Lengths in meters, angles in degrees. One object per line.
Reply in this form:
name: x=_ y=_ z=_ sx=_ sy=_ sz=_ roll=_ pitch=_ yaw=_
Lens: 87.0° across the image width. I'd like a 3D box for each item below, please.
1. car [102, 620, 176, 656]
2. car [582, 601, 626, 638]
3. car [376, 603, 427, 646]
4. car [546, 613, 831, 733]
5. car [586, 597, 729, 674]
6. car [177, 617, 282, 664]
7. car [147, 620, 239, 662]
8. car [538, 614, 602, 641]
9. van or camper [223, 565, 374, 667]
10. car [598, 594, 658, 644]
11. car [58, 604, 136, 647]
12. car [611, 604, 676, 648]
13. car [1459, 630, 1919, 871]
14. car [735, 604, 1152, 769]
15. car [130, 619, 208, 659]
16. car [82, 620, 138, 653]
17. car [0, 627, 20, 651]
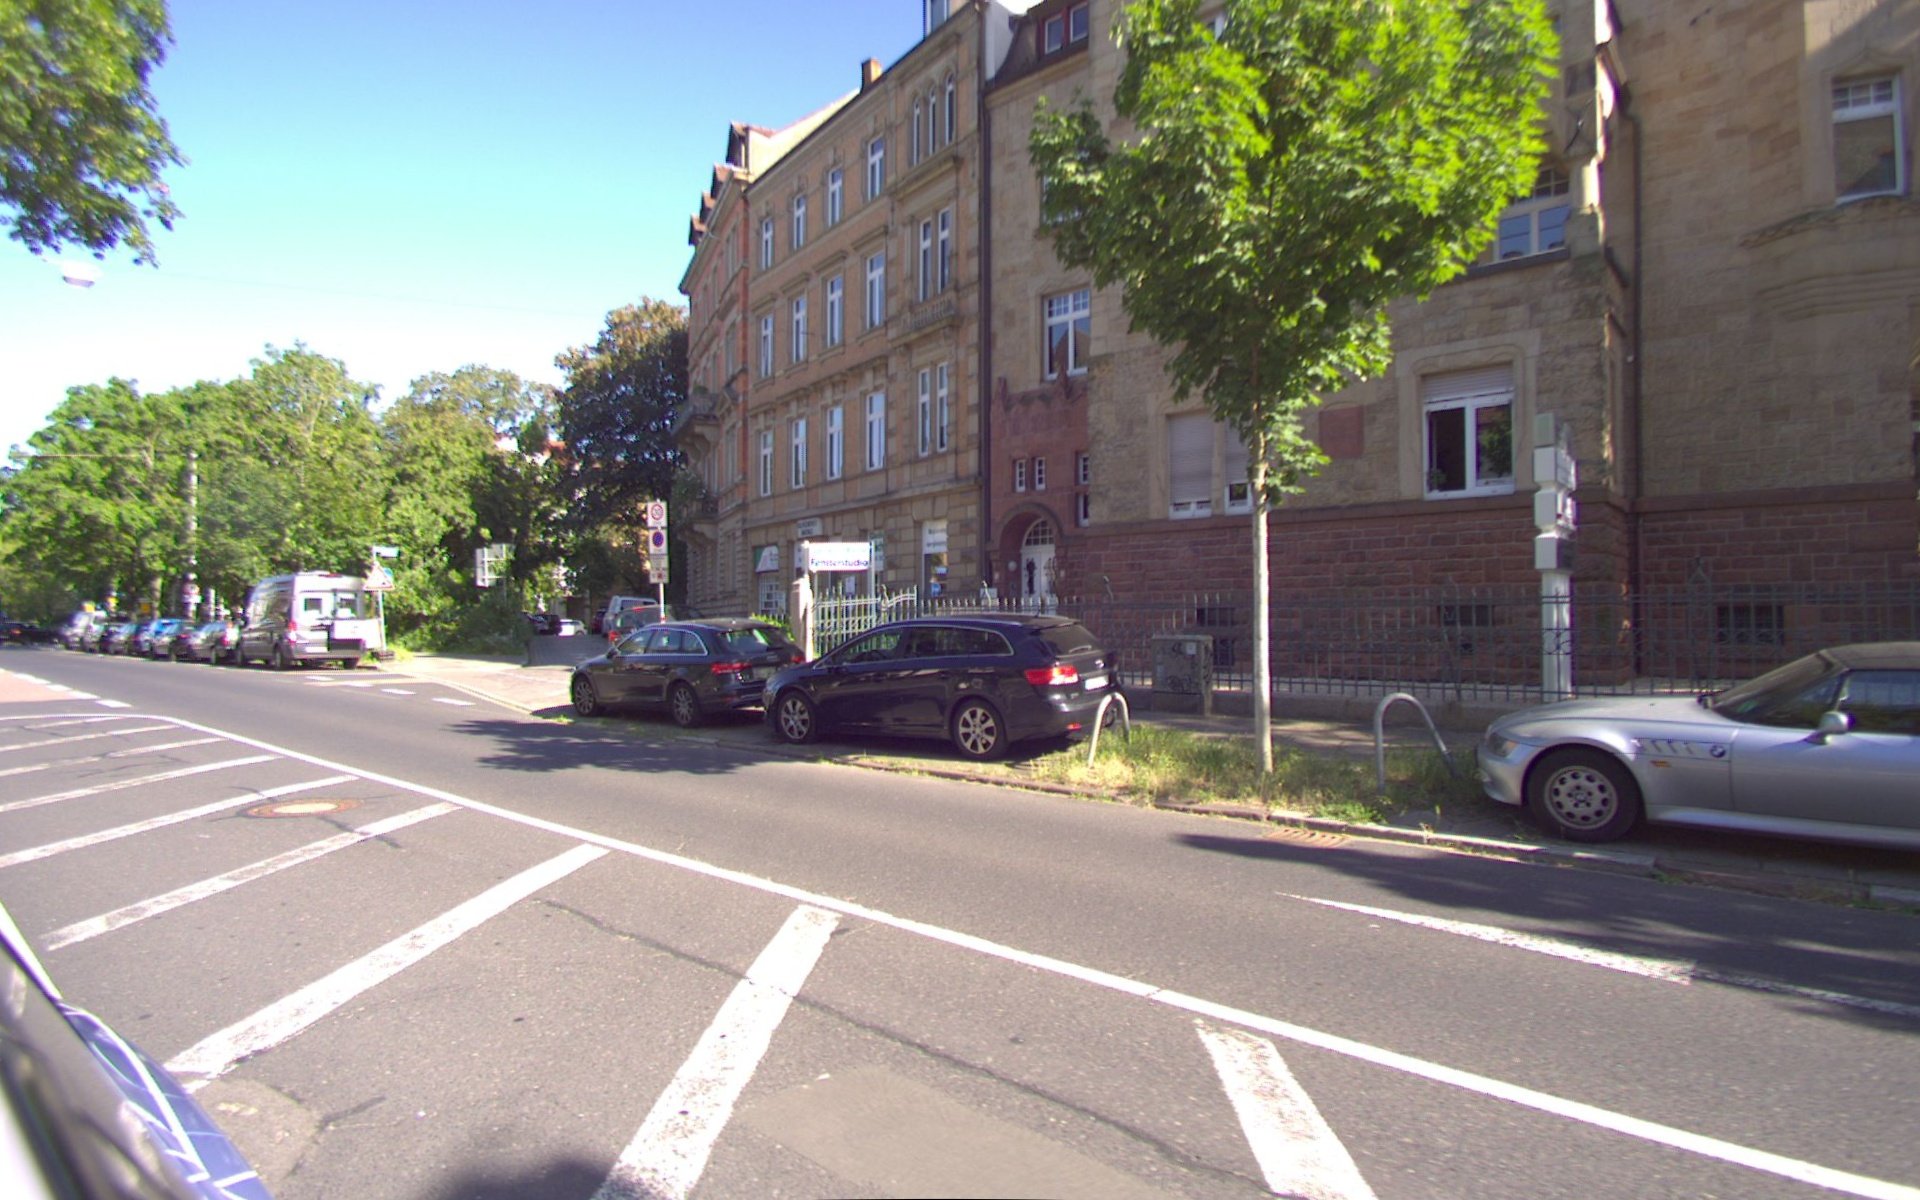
car: x=-35.919 y=1.637 z=44.253 sx=4.266 sy=1.493 sz=1.575 roll=-1 pitch=-3 yaw=38
car: x=-19.776 y=1.042 z=56.069 sx=1.833 sy=1.928 sz=4.466 roll=2 pitch=-1 yaw=-25
car: x=-26.654 y=1.153 z=48.203 sx=1.833 sy=1.928 sz=4.465 roll=3 pitch=-2 yaw=-32
car: x=-4.208 y=0.994 z=15.236 sx=4.718 sy=1.438 sz=1.836 roll=-2 pitch=2 yaw=42
car: x=-7.674 y=0.847 z=26.137 sx=1.977 sy=1.682 sz=4.134 roll=-3 pitch=0 yaw=8
car: x=-24.380 y=1.362 z=33.706 sx=4.659 sy=1.468 sz=1.676 roll=-2 pitch=-4 yaw=40
car: x=-27.852 y=1.495 z=36.710 sx=4.403 sy=1.424 sz=1.762 roll=-2 pitch=-4 yaw=41
car: x=-30.384 y=2.146 z=78.867 sx=4.374 sy=1.928 sz=1.871 roll=2 pitch=-2 yaw=-26
van or camper: x=-19.830 y=0.536 z=30.211 sx=6.085 sy=2.760 sz=2.193 roll=-2 pitch=-2 yaw=41
car: x=-13.827 y=0.783 z=42.026 sx=1.833 sy=1.928 sz=4.466 roll=2 pitch=-1 yaw=-25
car: x=-44.383 y=1.354 z=51.996 sx=4.867 sy=2.052 sz=1.965 roll=-2 pitch=-4 yaw=37
car: x=-11.837 y=0.971 z=37.748 sx=1.833 sy=1.524 sz=3.541 roll=2 pitch=-2 yaw=-25
car: x=5.503 y=0.836 z=6.284 sx=4.013 sy=1.265 sz=1.660 roll=-2 pitch=-1 yaw=42
car: x=-0.322 y=0.881 z=11.819 sx=4.697 sy=1.505 sz=1.839 roll=-1 pitch=1 yaw=36
car: x=-32.351 y=1.547 z=41.335 sx=4.558 sy=1.550 sz=1.761 roll=-1 pitch=-2 yaw=42
car: x=-40.741 y=1.736 z=48.491 sx=3.957 sy=1.513 sz=1.448 roll=-1 pitch=-3 yaw=41
car: x=-60.182 y=2.405 z=63.302 sx=4.131 sy=1.461 sz=1.576 roll=-2 pitch=-3 yaw=41
